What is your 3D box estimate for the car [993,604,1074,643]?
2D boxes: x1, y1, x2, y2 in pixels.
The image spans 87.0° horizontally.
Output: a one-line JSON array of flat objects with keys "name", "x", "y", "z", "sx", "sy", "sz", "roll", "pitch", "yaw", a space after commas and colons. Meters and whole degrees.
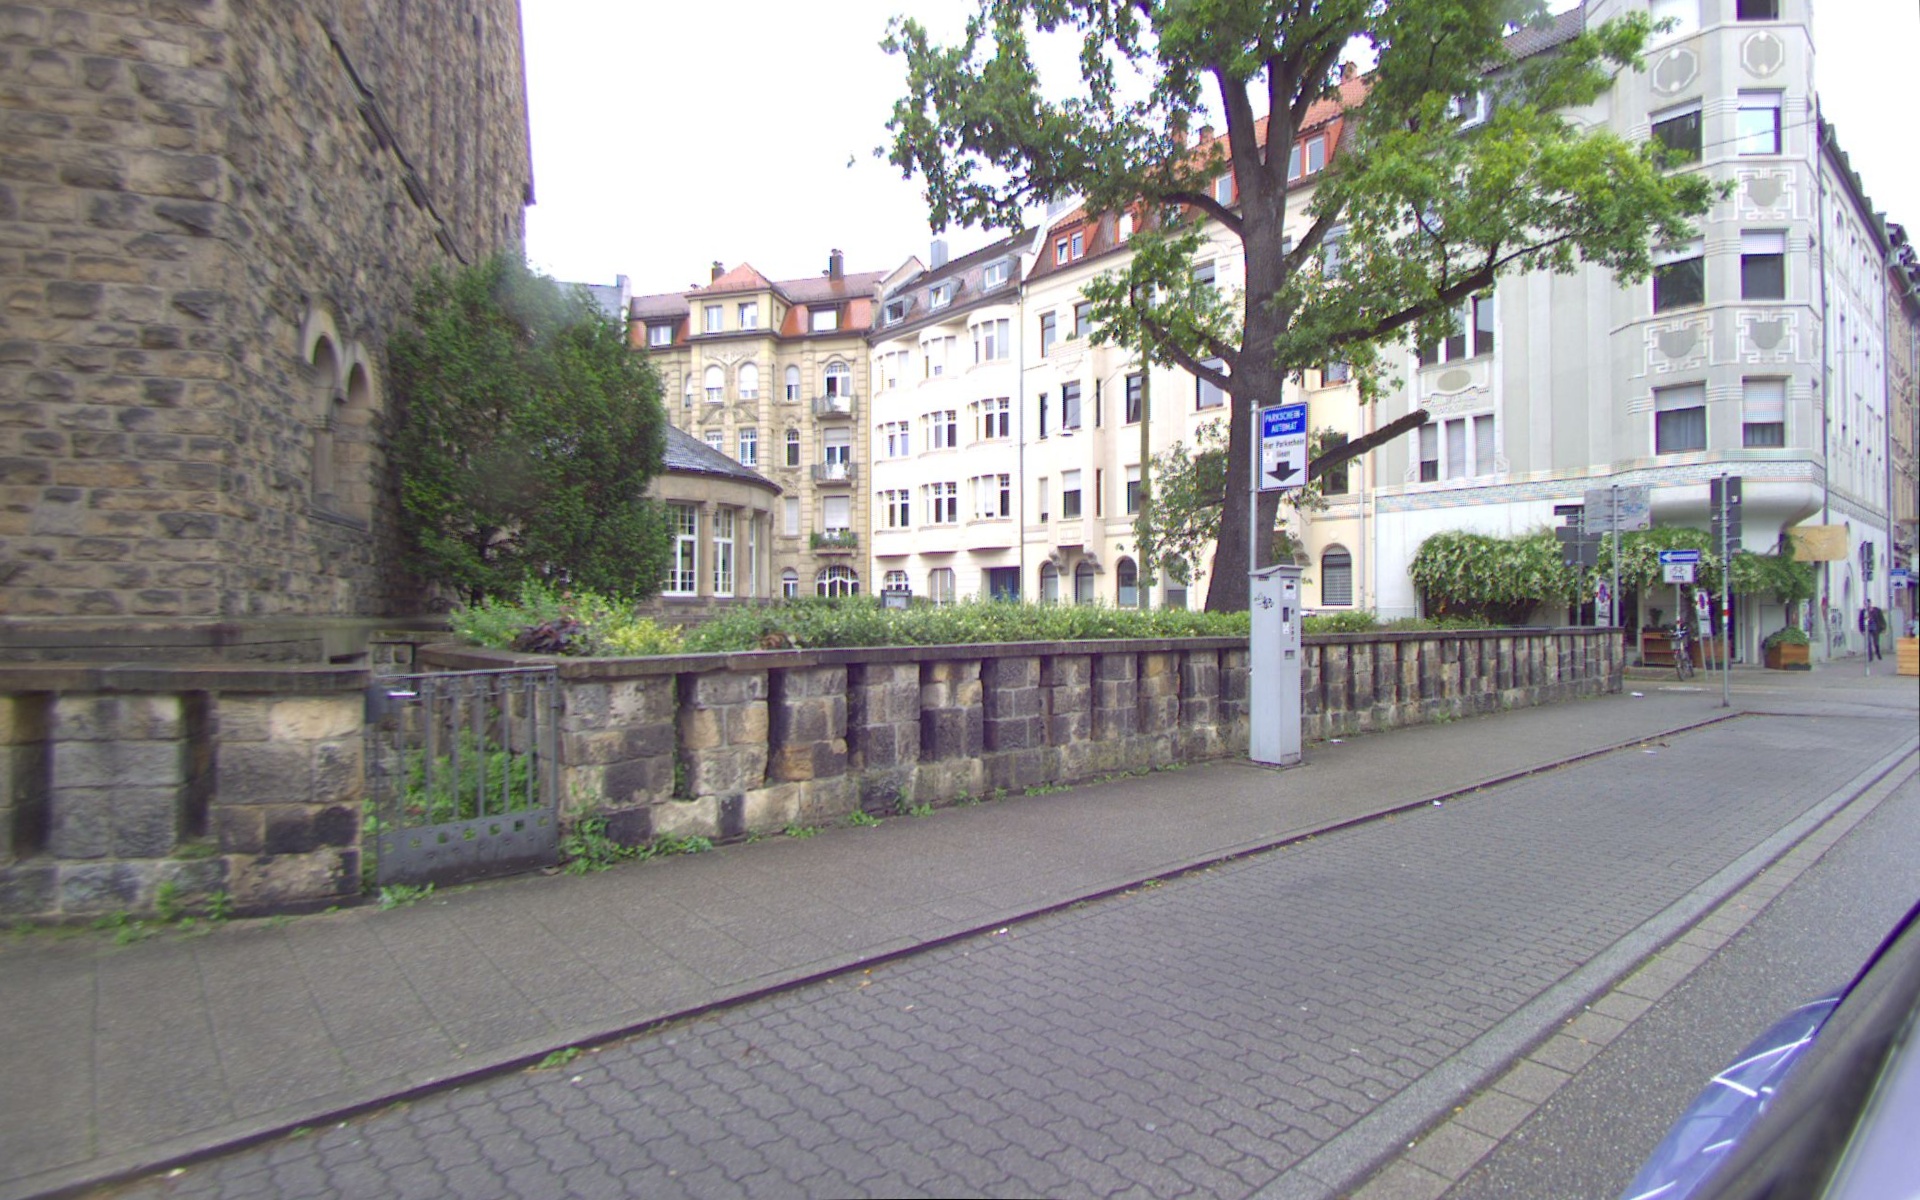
[{"name": "car", "x": 2.915, "y": 0.907, "z": 40.497, "sx": 1.421, "sy": 1.427, "sz": 3.271, "roll": 1, "pitch": 0, "yaw": -37}]

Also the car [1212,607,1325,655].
[{"name": "car", "x": 9.875, "y": 0.955, "z": 32.564, "sx": 1.421, "sy": 1.427, "sz": 3.271, "roll": 1, "pitch": 0, "yaw": -37}]

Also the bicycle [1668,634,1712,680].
[{"name": "bicycle", "x": 17.116, "y": 1.319, "z": 23.697, "sx": 1.989, "sy": 0.904, "sz": 0.390, "roll": -2, "pitch": 1, "yaw": -41}]

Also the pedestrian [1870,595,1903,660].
[{"name": "pedestrian", "x": 27.733, "y": 0.816, "z": 30.302, "sx": 0.681, "sy": 1.896, "sz": 0.645, "roll": 1, "pitch": -1, "yaw": -41}]
